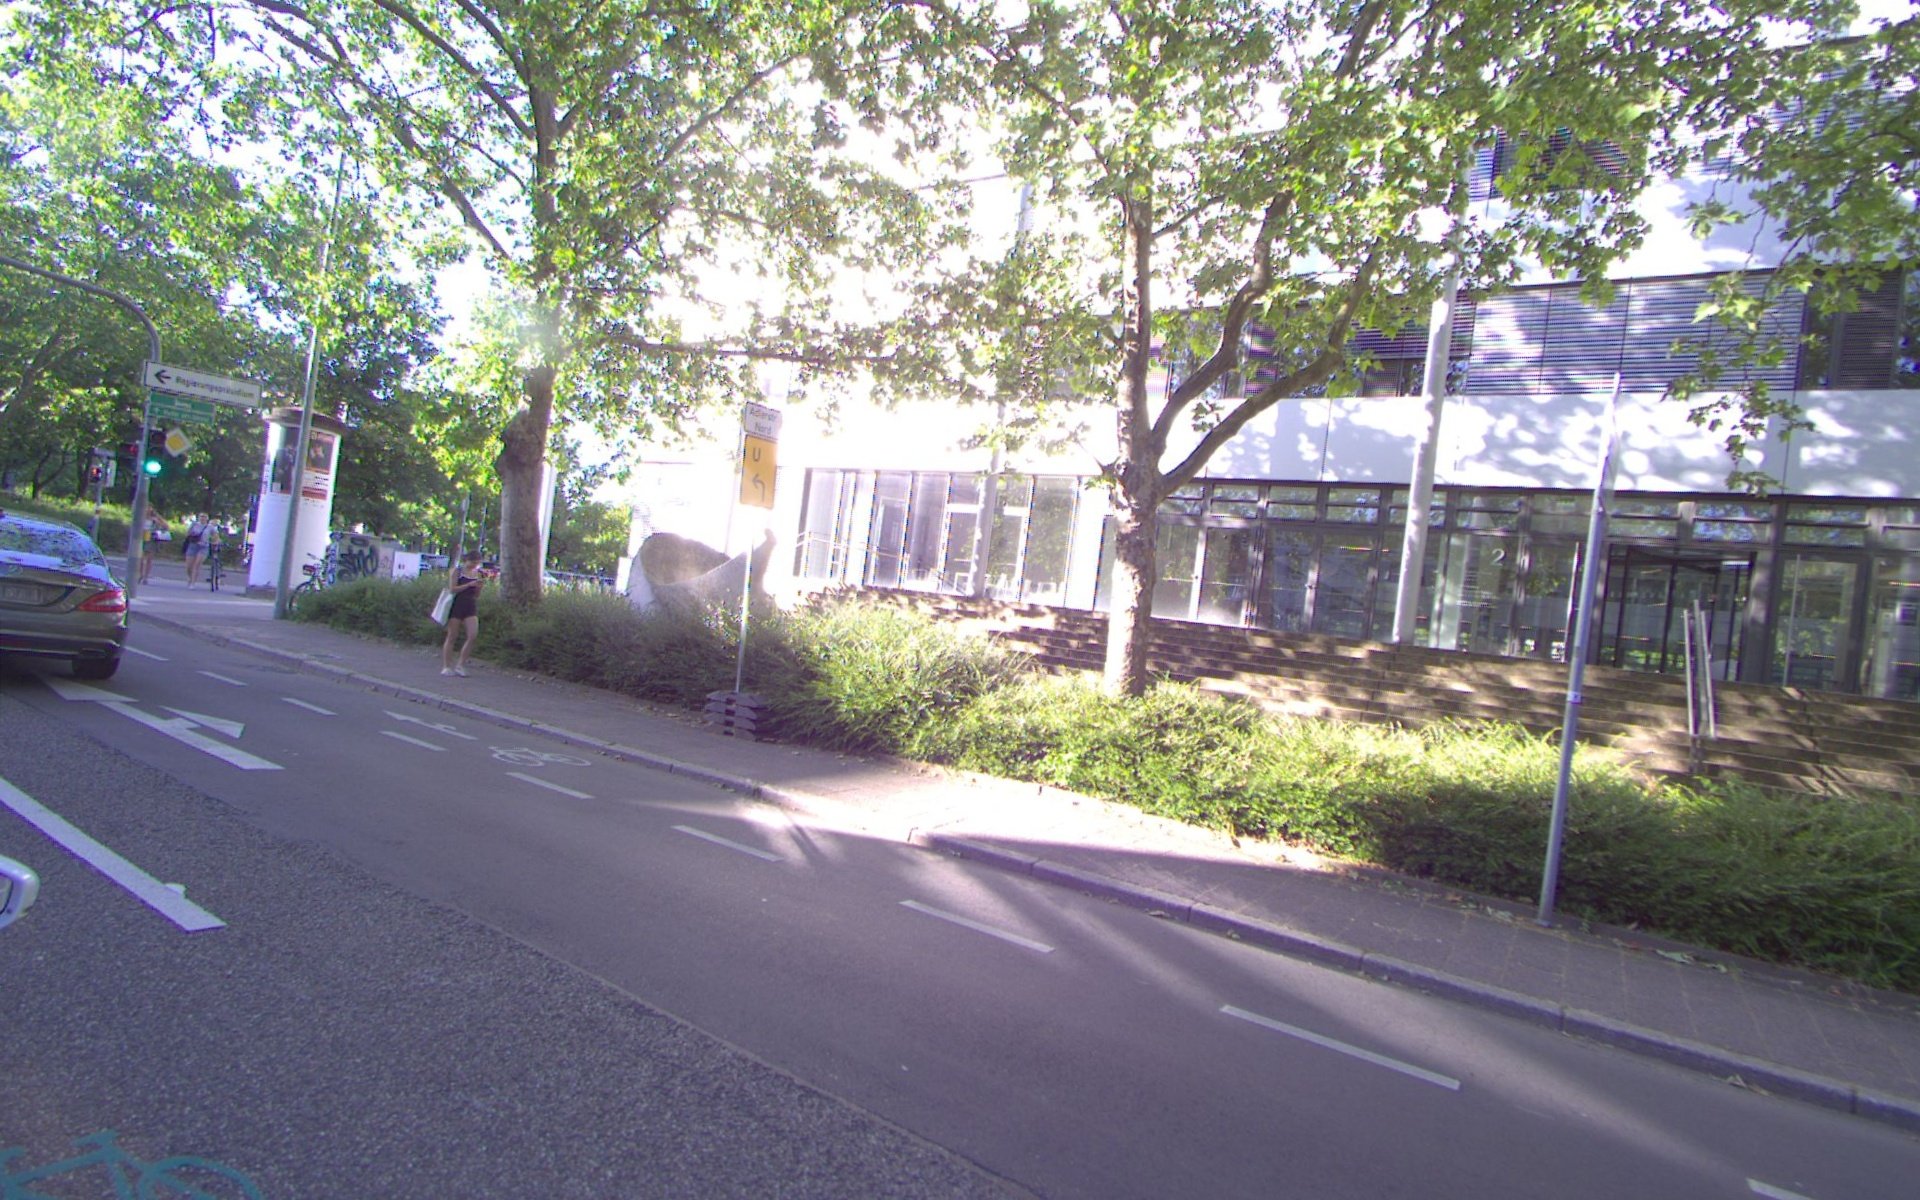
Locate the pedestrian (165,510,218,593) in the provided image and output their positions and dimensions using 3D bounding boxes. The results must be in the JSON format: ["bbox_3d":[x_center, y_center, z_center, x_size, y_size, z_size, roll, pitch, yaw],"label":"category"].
[{"bbox_3d":[-17.064,-1.083,22.341,0.681,1.717,0.959,8,-2,-43],"label":"pedestrian"}]

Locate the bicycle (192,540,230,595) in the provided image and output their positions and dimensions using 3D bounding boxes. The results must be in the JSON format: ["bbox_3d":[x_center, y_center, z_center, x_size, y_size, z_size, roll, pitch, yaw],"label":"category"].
[{"bbox_3d":[-16.803,-0.743,22.557,0.522,1.113,1.723,8,-2,-38],"label":"bicycle"}]

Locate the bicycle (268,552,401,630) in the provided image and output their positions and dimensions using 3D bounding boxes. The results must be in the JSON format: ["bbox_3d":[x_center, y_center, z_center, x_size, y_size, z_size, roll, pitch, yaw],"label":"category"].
[{"bbox_3d":[-11.717,-0.142,18.925,0.519,1.203,1.980,7,-2,31],"label":"bicycle"}]

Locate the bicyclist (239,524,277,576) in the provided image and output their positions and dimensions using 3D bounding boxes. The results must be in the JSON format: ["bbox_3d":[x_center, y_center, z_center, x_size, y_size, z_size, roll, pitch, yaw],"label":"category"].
[{"bbox_3d":[-24.797,-1.753,35.542,0.664,1.717,0.711,7,-1,33],"label":"bicyclist"}]

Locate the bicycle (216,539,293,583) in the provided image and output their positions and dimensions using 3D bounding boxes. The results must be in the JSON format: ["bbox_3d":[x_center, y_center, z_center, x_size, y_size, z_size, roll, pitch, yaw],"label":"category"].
[{"bbox_3d":[-24.861,-1.372,35.502,0.589,1.234,2.035,7,-2,32],"label":"bicycle"}]

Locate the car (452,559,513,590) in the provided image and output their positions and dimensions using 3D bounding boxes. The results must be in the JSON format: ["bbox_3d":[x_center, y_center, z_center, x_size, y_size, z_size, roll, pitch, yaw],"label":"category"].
[{"bbox_3d":[-30.502,-1.629,64.224,3.733,1.499,1.633,6,-2,32],"label":"car"}]

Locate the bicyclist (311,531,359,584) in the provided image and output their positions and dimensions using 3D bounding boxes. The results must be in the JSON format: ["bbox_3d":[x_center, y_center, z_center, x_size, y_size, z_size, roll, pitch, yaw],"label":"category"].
[{"bbox_3d":[-21.579,-1.465,34.750,0.856,1.634,0.965,6,-2,35],"label":"bicyclist"}]

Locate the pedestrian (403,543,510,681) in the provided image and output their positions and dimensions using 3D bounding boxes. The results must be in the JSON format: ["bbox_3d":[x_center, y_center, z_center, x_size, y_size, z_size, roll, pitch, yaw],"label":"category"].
[{"bbox_3d":[-6.485,0.155,12.962,0.893,1.652,0.798,7,2,34],"label":"pedestrian"}]

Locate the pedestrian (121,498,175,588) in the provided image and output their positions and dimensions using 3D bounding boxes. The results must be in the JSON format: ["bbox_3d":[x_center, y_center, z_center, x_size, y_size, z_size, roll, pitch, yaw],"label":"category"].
[{"bbox_3d":[-17.695,-1.229,21.945,0.728,1.830,0.900,6,-1,-37],"label":"pedestrian"}]

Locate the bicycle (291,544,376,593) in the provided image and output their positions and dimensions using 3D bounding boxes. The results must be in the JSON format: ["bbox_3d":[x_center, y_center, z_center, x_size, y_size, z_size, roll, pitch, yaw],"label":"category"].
[{"bbox_3d":[-21.611,-1.082,34.757,0.649,1.341,2.292,7,-2,34],"label":"bicycle"}]

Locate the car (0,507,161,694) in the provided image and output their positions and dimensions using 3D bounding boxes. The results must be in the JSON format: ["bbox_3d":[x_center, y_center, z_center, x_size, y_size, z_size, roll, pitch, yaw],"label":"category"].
[{"bbox_3d":[-9.332,-0.182,9.476,4.452,1.445,1.843,6,-3,40],"label":"car"}]
